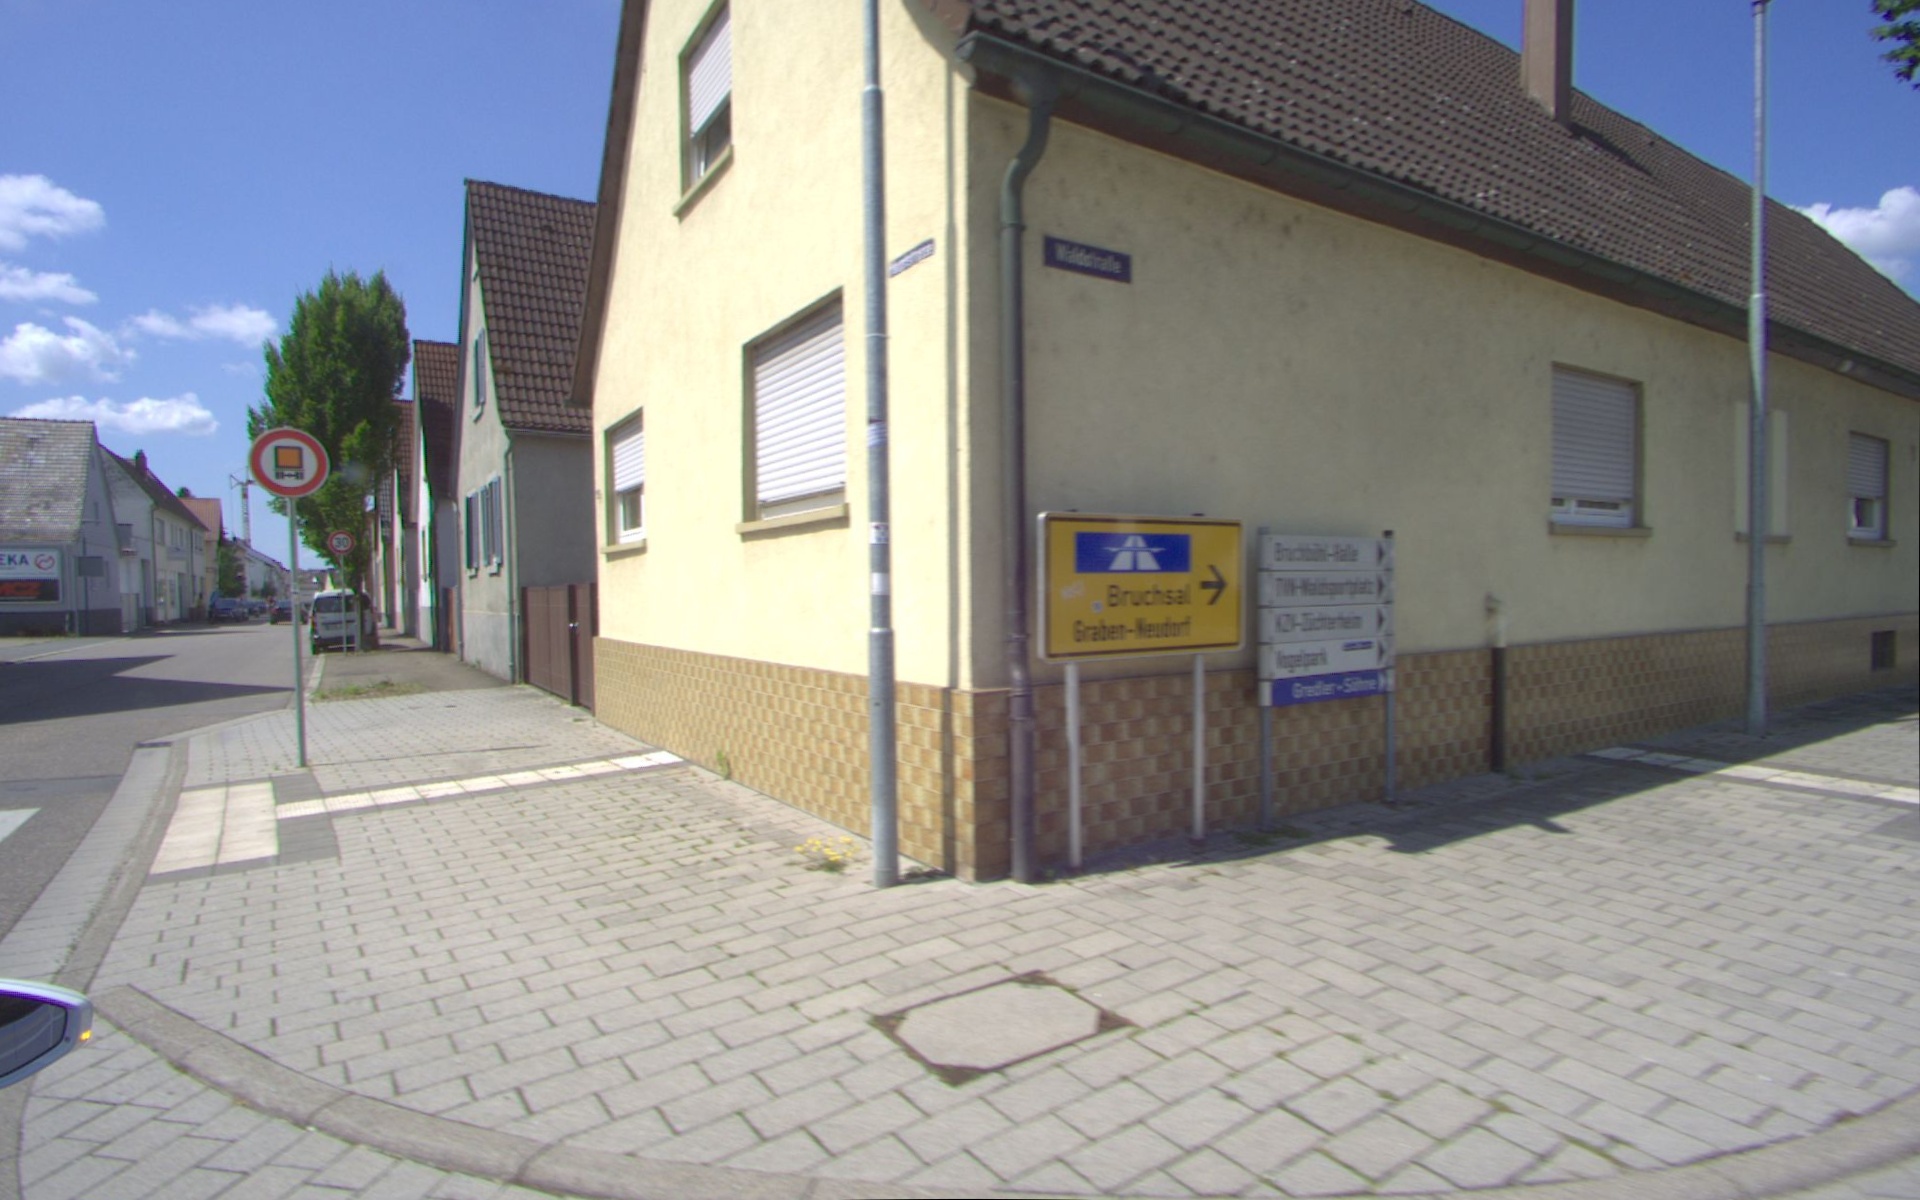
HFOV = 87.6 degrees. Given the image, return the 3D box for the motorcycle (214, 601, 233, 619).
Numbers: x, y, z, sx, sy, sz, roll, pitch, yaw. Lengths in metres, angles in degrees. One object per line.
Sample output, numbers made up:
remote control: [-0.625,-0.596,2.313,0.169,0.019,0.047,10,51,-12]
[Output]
motorcycle: [-48.940,0.671,66.566,0.838,1.185,2.454,1,-1,-33]

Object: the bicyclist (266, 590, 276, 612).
bicyclist: [-65.619,0.103,95.402,0.732,2.086,0.839,1,0,-33]

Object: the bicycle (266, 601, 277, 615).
bicycle: [-65.617,0.801,95.379,0.743,1.325,2.669,1,-1,-32]

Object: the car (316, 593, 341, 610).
car: [-53.591,0.096,84.984,1.701,1.373,4.132,0,0,-32]

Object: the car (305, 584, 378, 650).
car: [-18.661,0.460,30.136,1.702,1.815,4.117,-3,2,-33]

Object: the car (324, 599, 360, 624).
car: [-37.870,0.665,61.434,1.700,1.481,4.134,0,0,-30]

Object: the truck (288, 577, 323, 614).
truck: [-79.895,-0.525,122.297,3.111,4.306,9.251,1,-1,-30]

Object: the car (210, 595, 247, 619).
car: [-50.947,0.479,69.801,1.790,1.610,3.975,0,0,-32]

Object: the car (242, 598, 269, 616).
car: [-63.755,0.644,90.707,1.790,1.610,3.975,0,0,-32]

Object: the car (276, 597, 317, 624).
car: [-40.783,0.610,61.639,1.881,1.584,4.451,0,1,-31]
